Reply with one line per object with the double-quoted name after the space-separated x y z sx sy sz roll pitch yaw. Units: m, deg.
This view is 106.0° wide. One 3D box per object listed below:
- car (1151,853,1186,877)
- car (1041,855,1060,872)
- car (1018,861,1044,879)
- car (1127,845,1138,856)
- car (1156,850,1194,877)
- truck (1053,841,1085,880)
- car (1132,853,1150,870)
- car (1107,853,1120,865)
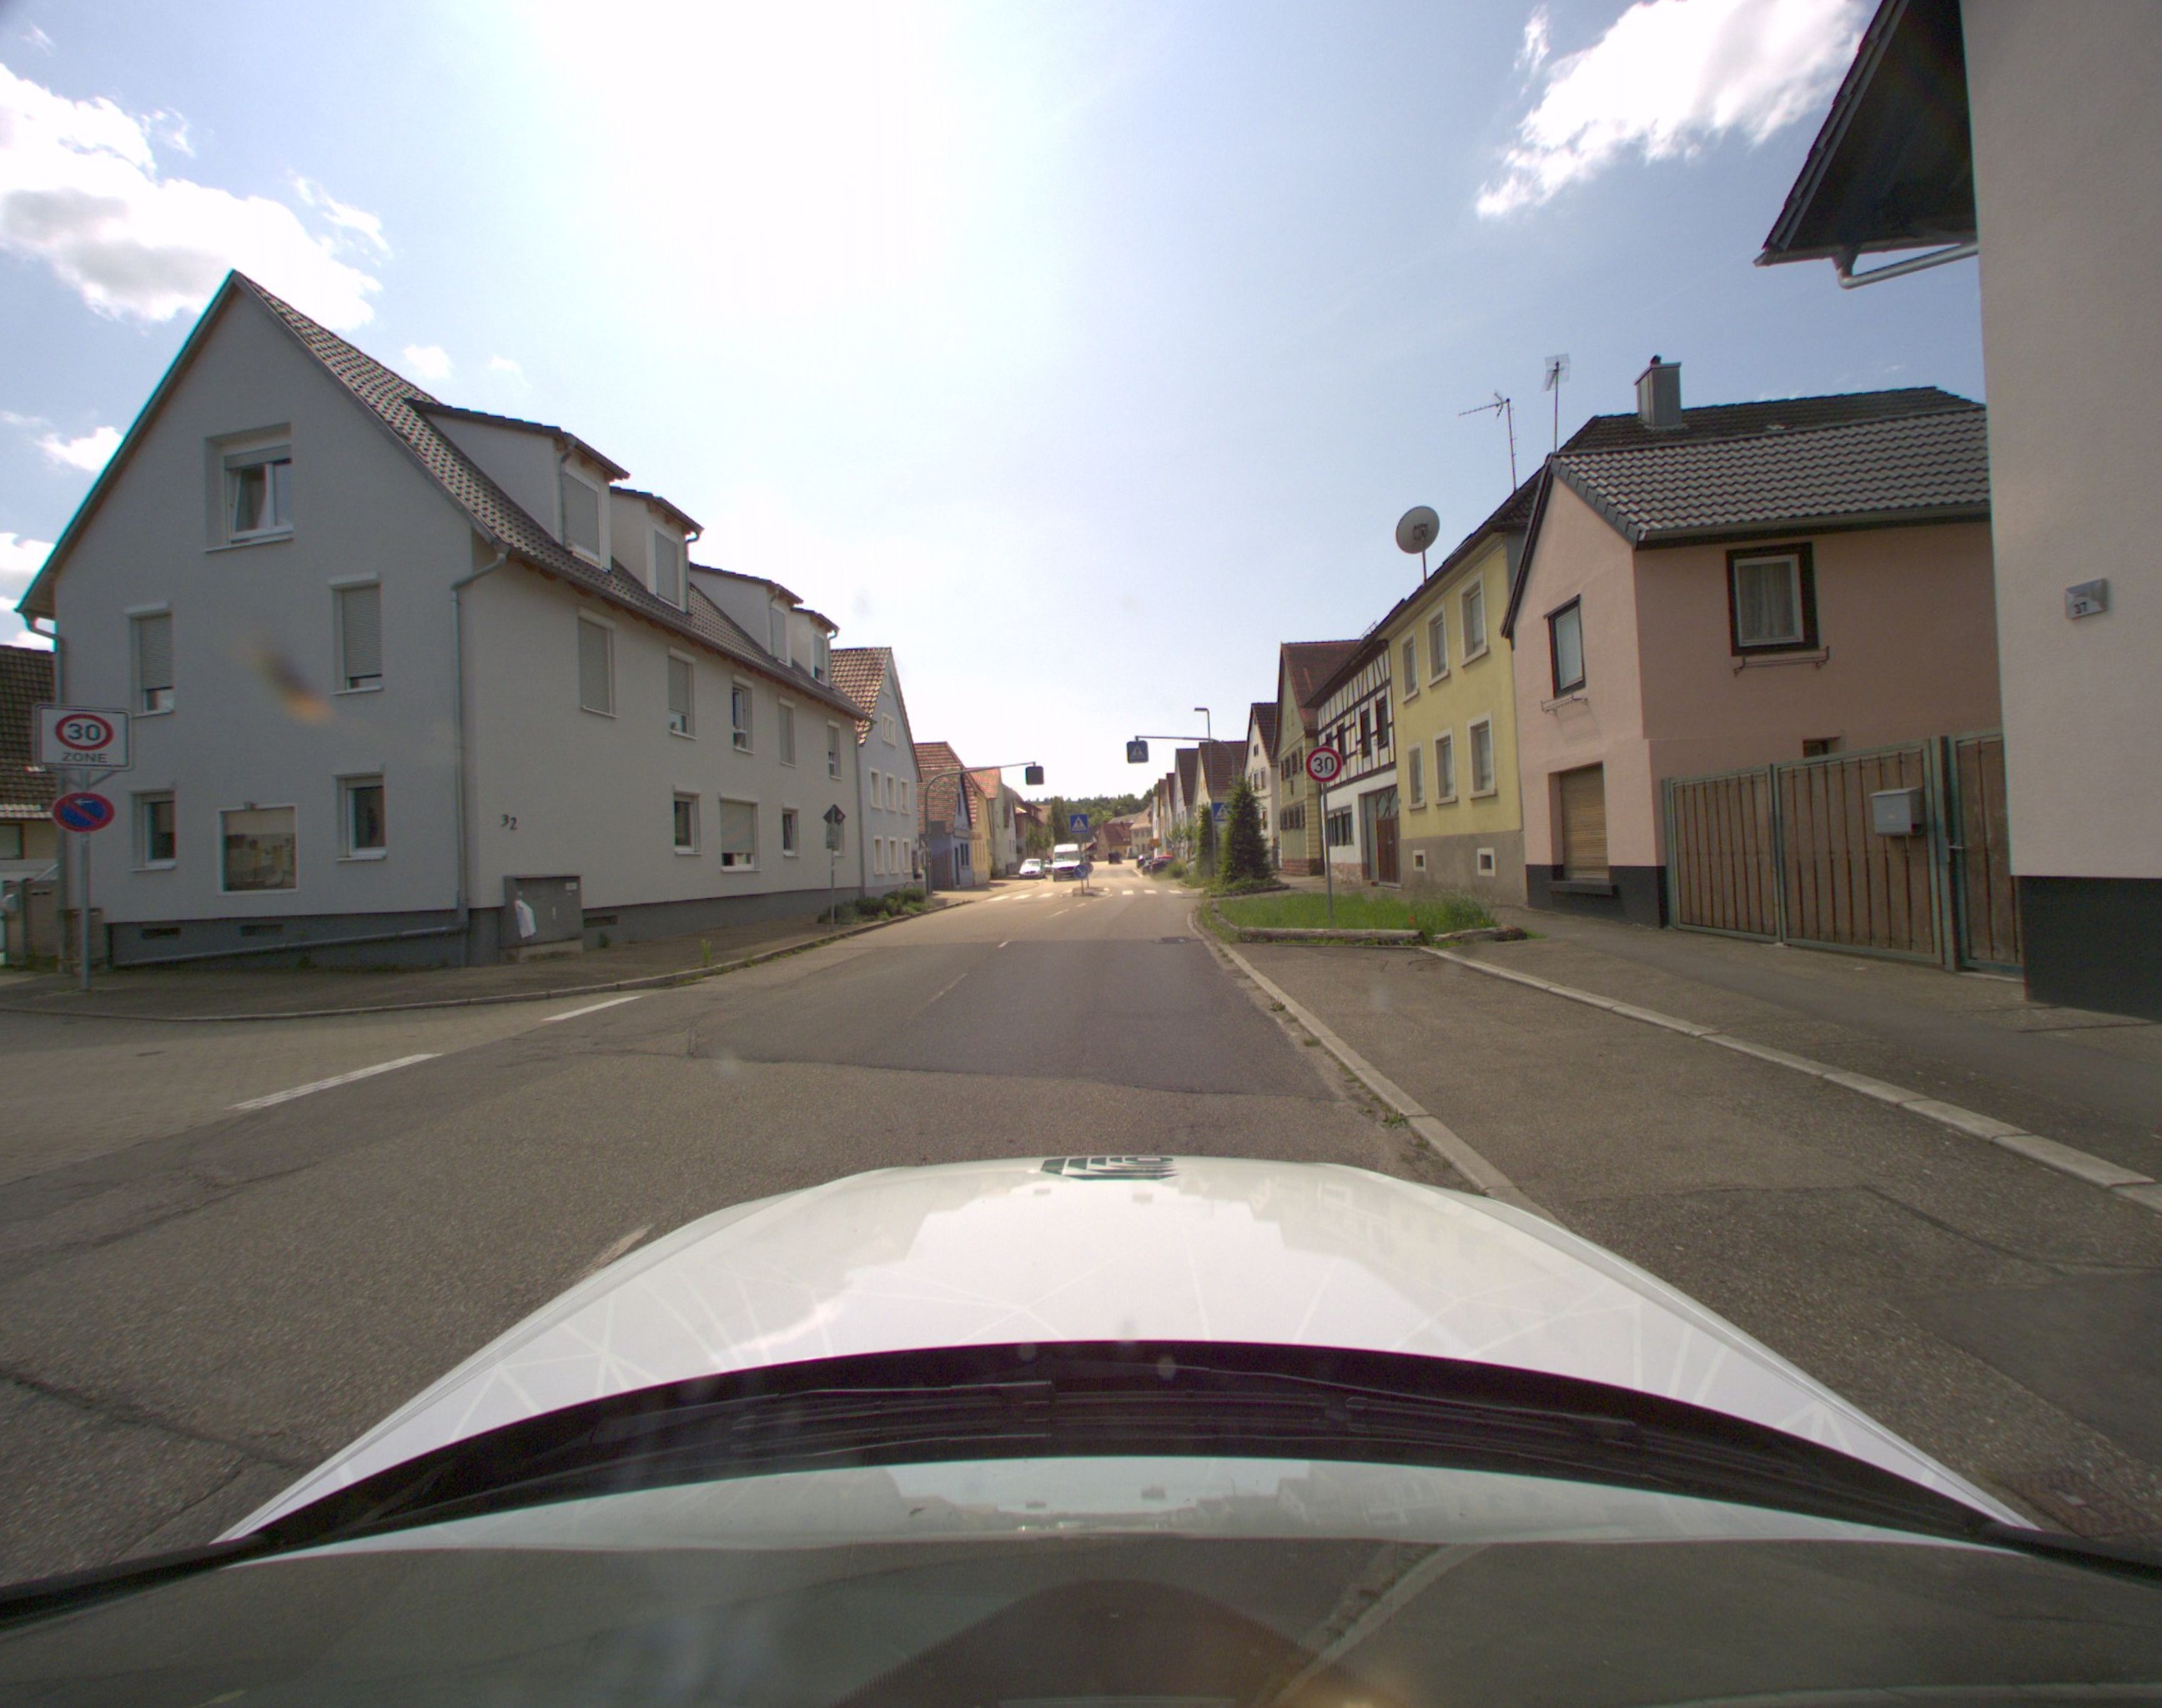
5.851 0.783 54.855 1.986 1.508 4.001 -2 -2 2 "car"
-3.216 1.045 85.871 1.661 1.596 4.001 -2 -2 2 "car"
-4.007 1.293 65.720 1.989 1.321 3.703 -1 -2 -4 "car"
10.154 -0.674 159.803 1.986 2.014 4.001 -2 -2 1 "car"
5.835 0.633 50.741 1.986 1.508 4.001 -2 -2 2 "car"
-0.824 0.564 58.302 1.986 2.537 6.739 -2 -2 1 "truck"
7.250 0.933 98.550 1.987 1.816 4.000 -2 -2 1 "car"
5.360 0.906 135.569 1.987 1.816 4.000 -2 -2 1 "car"
